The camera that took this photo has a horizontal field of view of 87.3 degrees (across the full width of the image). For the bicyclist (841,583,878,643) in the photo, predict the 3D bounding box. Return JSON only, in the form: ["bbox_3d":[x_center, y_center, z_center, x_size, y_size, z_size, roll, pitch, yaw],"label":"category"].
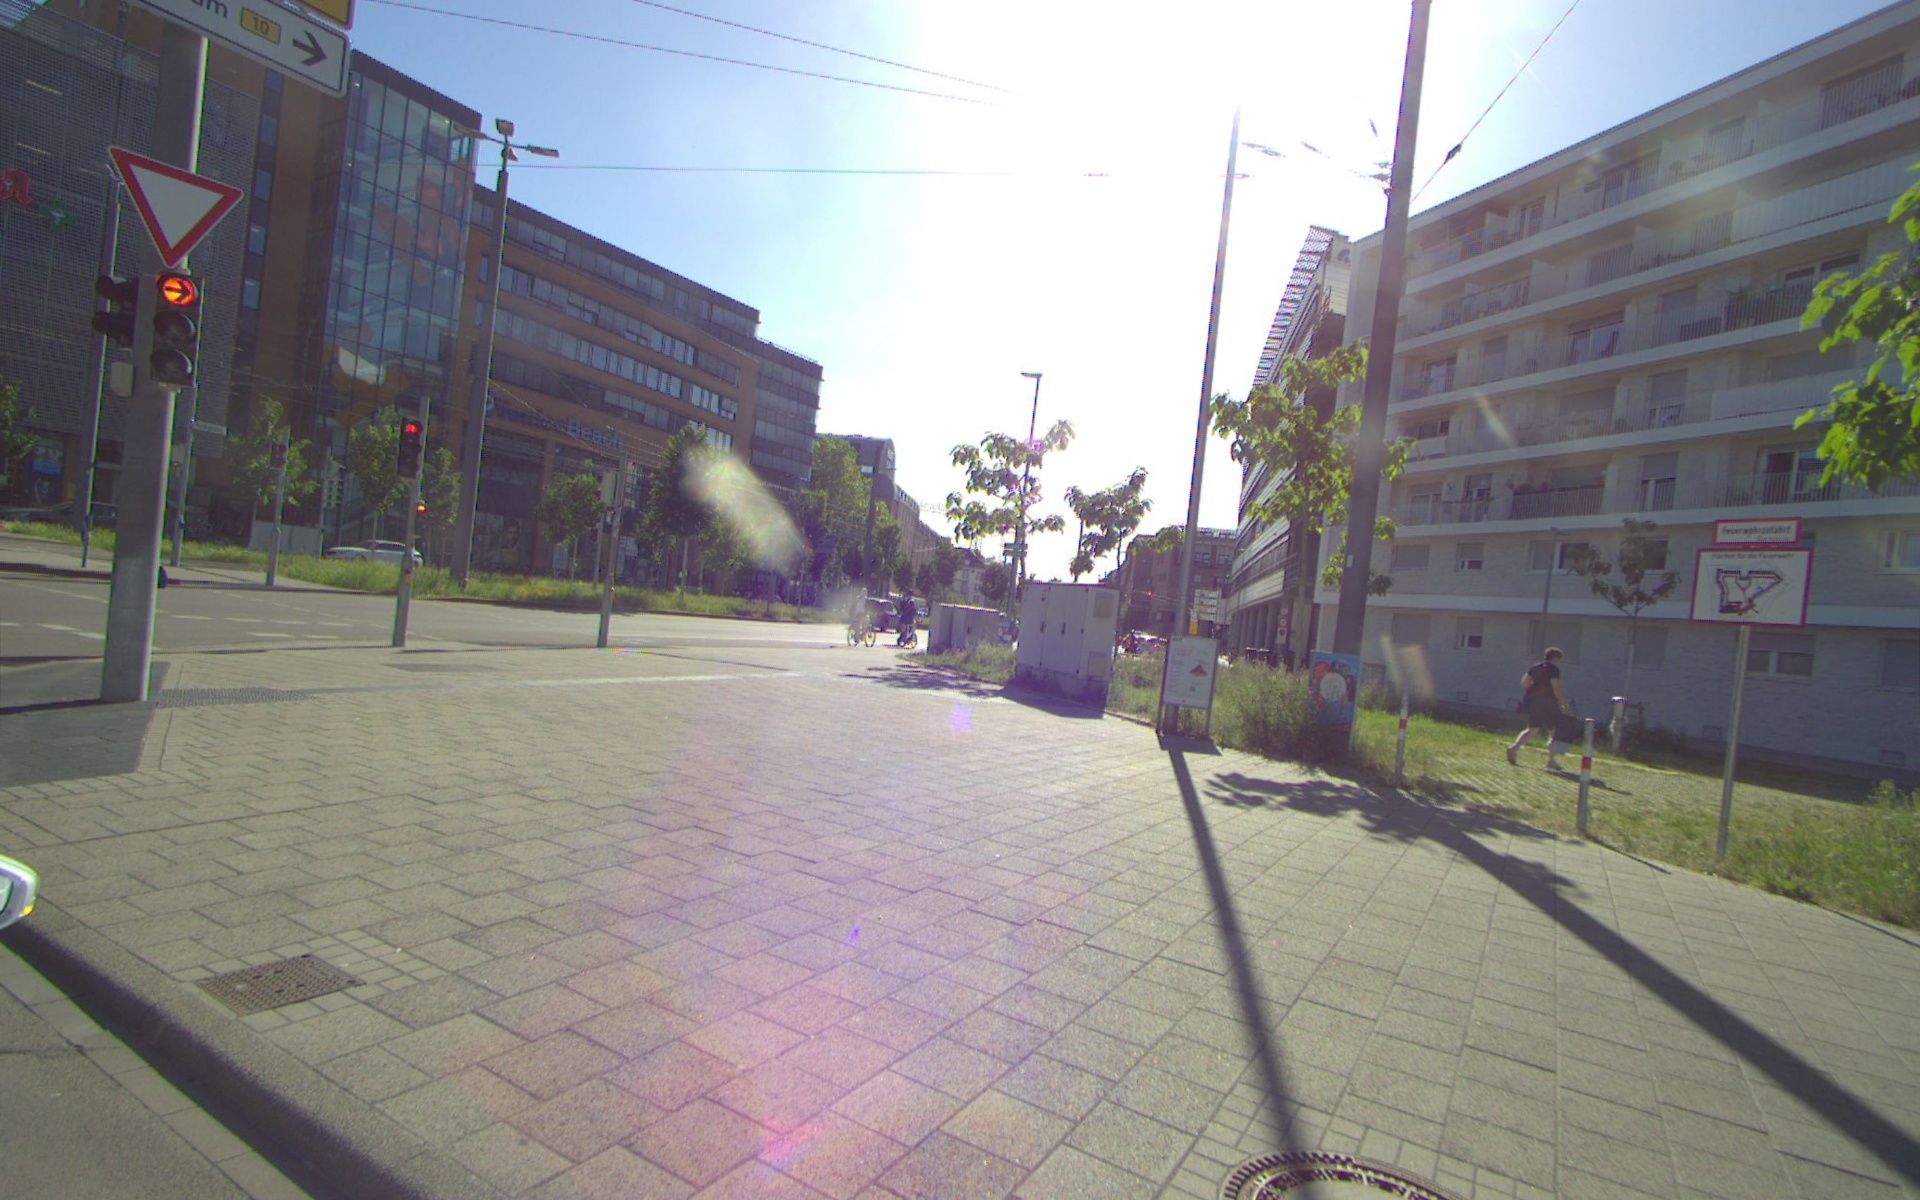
[{"bbox_3d":[-3.074,0.397,30.840,0.563,1.727,0.885,7,-1,25],"label":"bicyclist"}]

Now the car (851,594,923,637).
[{"bbox_3d":[-3.433,0.753,47.837,1.617,1.665,3.700,7,-1,26],"label":"car"}]

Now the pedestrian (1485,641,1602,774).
[{"bbox_3d":[8.331,1.523,14.390,0.970,1.719,0.842,6,2,-16],"label":"pedestrian"}]

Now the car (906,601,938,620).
[{"bbox_3d":[-4.602,1.306,122.837,1.809,1.885,4.336,6,-1,28],"label":"car"}]

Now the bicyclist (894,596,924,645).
[{"bbox_3d":[-1.779,0.731,35.187,0.563,1.585,0.886,7,-1,22],"label":"bicyclist"}]

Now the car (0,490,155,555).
[{"bbox_3d":[-32.067,-2.768,36.327,1.810,1.484,4.161,6,-5,30],"label":"car"}]

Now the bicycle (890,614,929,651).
[{"bbox_3d":[-1.754,1.161,35.378,0.576,1.150,1.761,7,-2,22],"label":"bicycle"}]

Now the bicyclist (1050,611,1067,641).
[{"bbox_3d":[5.507,1.436,56.150,0.563,1.585,0.886,7,-1,22],"label":"bicyclist"}]

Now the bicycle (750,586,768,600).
[{"bbox_3d":[-19.762,-0.706,98.959,0.559,1.232,1.859,9,1,31],"label":"bicycle"}]

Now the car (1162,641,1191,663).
[{"bbox_3d":[17.917,4.317,83.266,1.677,1.515,4.281,7,-2,19],"label":"car"}]

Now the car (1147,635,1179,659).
[{"bbox_3d":[15.649,3.648,77.409,1.677,1.515,4.281,7,-2,19],"label":"car"}]

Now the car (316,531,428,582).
[{"bbox_3d":[-28.743,-2.088,49.305,1.809,1.661,4.307,6,-5,27],"label":"car"}]

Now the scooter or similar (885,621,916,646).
[{"bbox_3d":[-2.188,1.225,37.129,0.603,0.795,1.213,7,-2,22],"label":"scooter or similar"}]

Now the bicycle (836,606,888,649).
[{"bbox_3d":[-3.014,0.870,31.066,0.571,1.150,1.907,7,-2,25],"label":"bicycle"}]

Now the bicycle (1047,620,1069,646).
[{"bbox_3d":[5.482,1.863,56.180,0.576,1.271,2.042,7,-2,22],"label":"bicycle"}]

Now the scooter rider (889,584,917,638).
[{"bbox_3d":[-2.098,0.412,37.102,0.563,1.894,0.787,7,-1,22],"label":"scooter rider"}]

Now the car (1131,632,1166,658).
[{"bbox_3d":[13.412,3.198,71.423,1.677,1.515,4.281,7,-2,19],"label":"car"}]

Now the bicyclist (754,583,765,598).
[{"bbox_3d":[-19.730,-0.945,98.954,0.556,1.404,0.754,9,2,31],"label":"bicyclist"}]

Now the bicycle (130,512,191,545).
[{"bbox_3d":[-40.517,-3.610,51.033,0.595,1.310,2.260,7,-2,30],"label":"bicycle"}]
